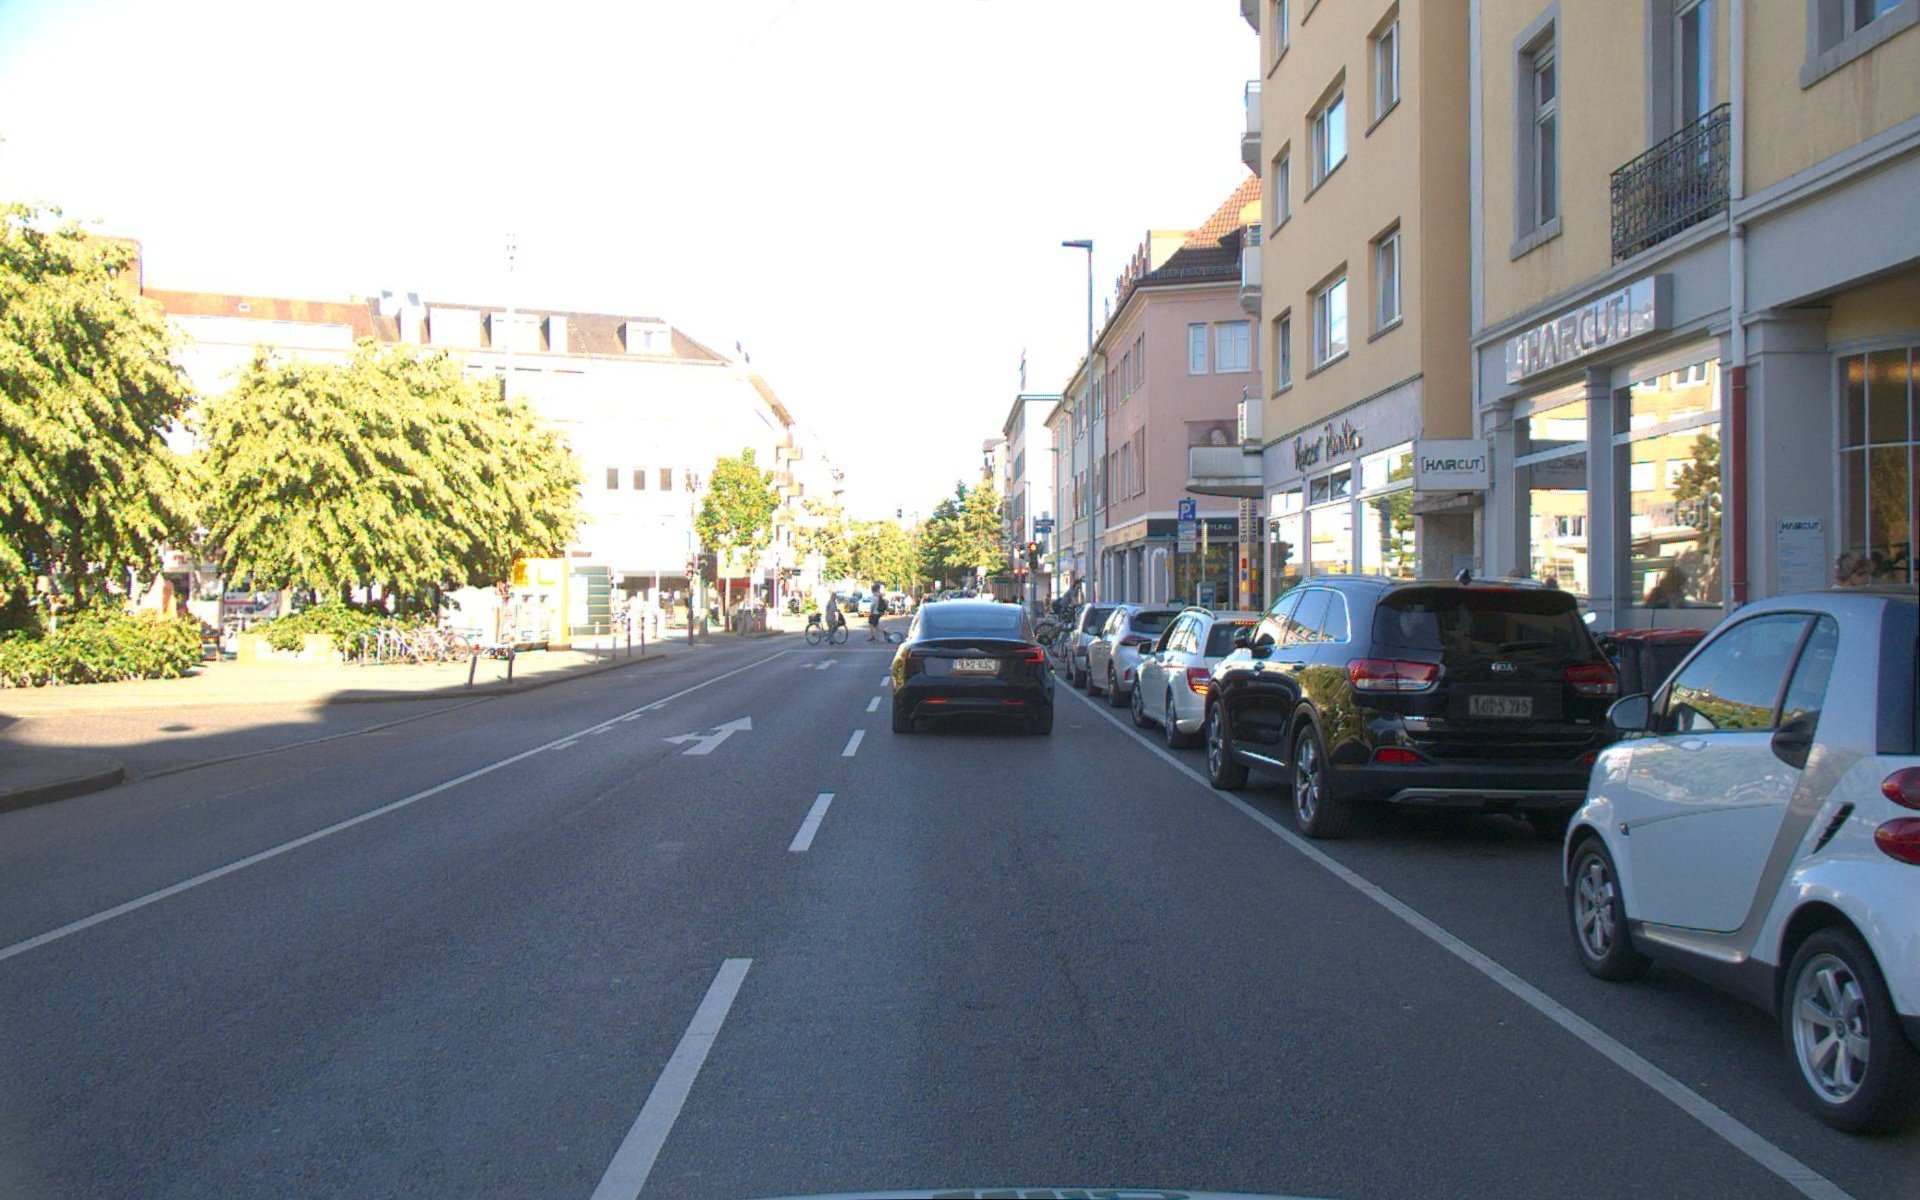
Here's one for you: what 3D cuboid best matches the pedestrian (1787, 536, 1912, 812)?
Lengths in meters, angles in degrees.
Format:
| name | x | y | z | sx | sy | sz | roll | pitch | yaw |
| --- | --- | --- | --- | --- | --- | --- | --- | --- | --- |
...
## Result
| name | x | y | z | sx | sy | sz | roll | pitch | yaw |
| --- | --- | --- | --- | --- | --- | --- | --- | --- | --- |
| pedestrian | 5.627 | 0.456 | 10.483 | 0.441 | 1.689 | 0.593 | -1 | 0 | 1 |

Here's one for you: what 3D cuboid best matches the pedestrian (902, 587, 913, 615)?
| name | x | y | z | sx | sy | sz | roll | pitch | yaw |
| --- | --- | --- | --- | --- | --- | --- | --- | --- | --- |
| pedestrian | -3.848 | 0.069 | 122.228 | 0.614 | 2.049 | 0.559 | 0 | 0 | 24 |

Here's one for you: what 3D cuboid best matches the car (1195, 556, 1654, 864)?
| name | x | y | z | sx | sy | sz | roll | pitch | yaw |
| --- | --- | --- | --- | --- | --- | --- | --- | --- | --- |
| car | 3.016 | 0.634 | 11.825 | 1.720 | 1.767 | 4.569 | 0 | 0 | -4 |

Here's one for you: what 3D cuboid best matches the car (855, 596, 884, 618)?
| name | x | y | z | sx | sy | sz | roll | pitch | yaw |
| --- | --- | --- | --- | --- | --- | --- | --- | --- | --- |
| car | -6.882 | 0.536 | 126.265 | 1.953 | 1.568 | 4.000 | -3 | 0 | 0 |

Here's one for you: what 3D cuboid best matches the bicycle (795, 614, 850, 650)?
| name | x | y | z | sx | sy | sz | roll | pitch | yaw |
| --- | --- | --- | --- | --- | --- | --- | --- | --- | --- |
| bicycle | -4.204 | 0.977 | 50.712 | 1.581 | 1.063 | 0.591 | 1 | 0 | 3 |

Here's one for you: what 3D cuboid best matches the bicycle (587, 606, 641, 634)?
| name | x | y | z | sx | sy | sz | roll | pitch | yaw |
| --- | --- | --- | --- | --- | --- | --- | --- | --- | --- |
| bicycle | -14.264 | 0.814 | 68.262 | 2.040 | 1.123 | 0.806 | 0 | 0 | -1 |

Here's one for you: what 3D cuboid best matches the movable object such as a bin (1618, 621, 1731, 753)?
| name | x | y | z | sx | sy | sz | roll | pitch | yaw |
| --- | --- | --- | --- | --- | --- | --- | --- | --- | --- |
| movable object such as a bin | 6.008 | 0.721 | 13.940 | 0.653 | 1.043 | 0.620 | -3 | 0 | 2 |

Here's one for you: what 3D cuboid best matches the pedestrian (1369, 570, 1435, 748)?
| name | x | y | z | sx | sy | sz | roll | pitch | yaw |
| --- | --- | --- | --- | --- | --- | --- | --- | --- | --- |
| pedestrian | 4.526 | 0.593 | 16.956 | 0.430 | 1.793 | 0.475 | 1 | -1 | -38 |

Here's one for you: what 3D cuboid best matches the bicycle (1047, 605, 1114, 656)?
| name | x | y | z | sx | sy | sz | roll | pitch | yaw |
| --- | --- | --- | --- | --- | --- | --- | --- | --- | --- |
| bicycle | 2.943 | 0.744 | 40.410 | 1.594 | 1.180 | 0.433 | -2 | 0 | 1 |

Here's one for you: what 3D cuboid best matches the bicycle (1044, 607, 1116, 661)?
| name | x | y | z | sx | sy | sz | roll | pitch | yaw |
| --- | --- | --- | --- | --- | --- | --- | --- | --- | --- |
| bicycle | 2.761 | 0.783 | 38.202 | 1.595 | 1.180 | 0.432 | -2 | 0 | -2 |

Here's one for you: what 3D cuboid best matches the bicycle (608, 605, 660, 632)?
| name | x | y | z | sx | sy | sz | roll | pitch | yaw |
| --- | --- | --- | --- | --- | --- | --- | --- | --- | --- |
| bicycle | -13.944 | 0.805 | 70.783 | 2.040 | 1.123 | 0.806 | 0 | 0 | -1 |

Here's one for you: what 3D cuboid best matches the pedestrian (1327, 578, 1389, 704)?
| name | x | y | z | sx | sy | sz | roll | pitch | yaw |
| --- | --- | --- | --- | --- | --- | --- | --- | --- | --- |
| pedestrian | 5.366 | 0.548 | 22.324 | 0.648 | 1.661 | 0.628 | -2 | -1 | 4 |

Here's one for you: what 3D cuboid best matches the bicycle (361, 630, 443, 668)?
| name | x | y | z | sx | sy | sz | roll | pitch | yaw |
| --- | --- | --- | --- | --- | --- | --- | --- | --- | --- |
| bicycle | -12.002 | 1.050 | 35.606 | 1.621 | 0.782 | 0.475 | 1 | 0 | 9 |

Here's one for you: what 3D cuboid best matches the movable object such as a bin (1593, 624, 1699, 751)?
| name | x | y | z | sx | sy | sz | roll | pitch | yaw |
| --- | --- | --- | --- | --- | --- | --- | --- | --- | --- |
| movable object such as a bin | 6.037 | 0.758 | 14.575 | 0.646 | 1.059 | 0.620 | -3 | 0 | 2 |

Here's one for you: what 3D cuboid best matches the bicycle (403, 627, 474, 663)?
| name | x | y | z | sx | sy | sz | roll | pitch | yaw |
| --- | --- | --- | --- | --- | --- | --- | --- | --- | --- |
| bicycle | -11.646 | 1.001 | 36.965 | 1.442 | 0.782 | 0.441 | 1 | 0 | 4 |

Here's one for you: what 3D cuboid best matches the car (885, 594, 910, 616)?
| name | x | y | z | sx | sy | sz | roll | pitch | yaw |
| --- | --- | --- | --- | --- | --- | --- | --- | --- | --- |
| car | -5.098 | 0.386 | 134.532 | 2.009 | 1.757 | 4.651 | 0 | 0 | -3 |

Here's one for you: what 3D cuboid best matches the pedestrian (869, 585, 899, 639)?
| name | x | y | z | sx | sy | sz | roll | pitch | yaw |
| --- | --- | --- | --- | --- | --- | --- | --- | --- | --- |
| pedestrian | -2.500 | 0.381 | 54.296 | 0.882 | 1.755 | 0.744 | 1 | 0 | 3 |

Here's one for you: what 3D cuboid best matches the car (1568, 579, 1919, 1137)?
| name | x | y | z | sx | sy | sz | roll | pitch | yaw |
| --- | --- | --- | --- | --- | --- | --- | --- | --- | --- |
| car | 3.268 | 0.718 | 5.744 | 1.246 | 1.544 | 2.794 | 0 | 0 | -1 |

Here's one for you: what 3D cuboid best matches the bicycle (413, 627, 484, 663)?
| name | x | y | z | sx | sy | sz | roll | pitch | yaw |
| --- | --- | --- | --- | --- | --- | --- | --- | --- | --- |
| bicycle | -11.596 | 1.015 | 37.525 | 1.442 | 0.782 | 0.475 | 1 | 0 | 2 |

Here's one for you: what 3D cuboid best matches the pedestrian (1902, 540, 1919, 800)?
| name | x | y | z | sx | sy | sz | roll | pitch | yaw |
| --- | --- | --- | --- | --- | --- | --- | --- | --- | --- |
| pedestrian | 6.445 | 0.450 | 10.673 | 0.334 | 1.689 | 0.519 | -1 | 0 | -30 |

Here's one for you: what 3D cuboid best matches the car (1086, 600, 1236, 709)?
| name | x | y | z | sx | sy | sz | roll | pitch | yaw |
| --- | --- | --- | --- | --- | --- | --- | --- | --- | --- |
| car | 2.881 | 0.734 | 24.413 | 1.636 | 1.452 | 4.076 | 0 | 0 | -1 |

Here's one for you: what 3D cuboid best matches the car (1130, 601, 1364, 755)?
| name | x | y | z | sx | sy | sz | roll | pitch | yaw |
| --- | --- | --- | --- | --- | --- | --- | --- | --- | --- |
| car | 3.006 | 0.754 | 18.214 | 1.703 | 1.472 | 4.463 | 0 | 0 | -1 |

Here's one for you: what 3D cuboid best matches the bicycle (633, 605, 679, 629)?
| name | x | y | z | sx | sy | sz | roll | pitch | yaw |
| --- | --- | --- | --- | --- | --- | --- | --- | --- | --- |
| bicycle | -14.281 | 0.784 | 77.750 | 2.040 | 1.123 | 0.806 | 0 | 0 | -1 |

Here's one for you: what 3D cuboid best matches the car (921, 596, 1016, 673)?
| name | x | y | z | sx | sy | sz | roll | pitch | yaw |
| --- | --- | --- | --- | --- | --- | --- | --- | --- | --- |
| car | 0.181 | 0.661 | 33.704 | 1.812 | 1.480 | 3.786 | 0 | 0 | 1 |

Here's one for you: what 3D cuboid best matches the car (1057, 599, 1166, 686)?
| name | x | y | z | sx | sy | sz | roll | pitch | yaw |
| --- | --- | --- | --- | --- | --- | --- | --- | --- | --- |
| car | 2.616 | 0.707 | 29.237 | 1.588 | 1.419 | 3.886 | 0 | 0 | 1 |

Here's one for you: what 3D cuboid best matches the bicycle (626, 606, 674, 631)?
| name | x | y | z | sx | sy | sz | roll | pitch | yaw |
| --- | --- | --- | --- | --- | --- | --- | --- | --- | --- |
| bicycle | -14.161 | 0.824 | 75.556 | 2.040 | 1.123 | 0.806 | 0 | 0 | -1 |

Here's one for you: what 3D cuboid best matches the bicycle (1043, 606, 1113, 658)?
| name | x | y | z | sx | sy | sz | roll | pitch | yaw |
| --- | --- | --- | --- | --- | --- | --- | --- | --- | --- |
| bicycle | 2.785 | 0.756 | 39.166 | 1.595 | 1.180 | 0.432 | -2 | 0 | -2 |

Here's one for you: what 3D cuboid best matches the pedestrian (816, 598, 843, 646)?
| name | x | y | z | sx | sy | sz | roll | pitch | yaw |
| --- | --- | --- | --- | --- | --- | --- | --- | --- | --- |
| pedestrian | -4.026 | 0.672 | 51.165 | 0.727 | 1.466 | 0.582 | 1 | -1 | 3 |

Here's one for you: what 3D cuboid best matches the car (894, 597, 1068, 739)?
| name | x | y | z | sx | sy | sz | roll | pitch | yaw |
| --- | --- | --- | --- | --- | --- | --- | --- | --- | --- |
| car | 0.241 | 0.713 | 19.267 | 1.812 | 1.480 | 3.786 | 0 | 0 | 1 |

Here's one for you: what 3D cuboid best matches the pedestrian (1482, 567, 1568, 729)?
| name | x | y | z | sx | sy | sz | roll | pitch | yaw |
| --- | --- | --- | --- | --- | --- | --- | --- | --- | --- |
| pedestrian | 5.957 | 0.498 | 17.460 | 0.682 | 1.661 | 0.532 | -1 | 0 | -3 |

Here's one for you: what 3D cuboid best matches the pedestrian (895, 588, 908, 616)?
| name | x | y | z | sx | sy | sz | roll | pitch | yaw |
| --- | --- | --- | --- | --- | --- | --- | --- | --- | --- |
| pedestrian | -4.350 | 0.167 | 123.433 | 0.741 | 2.049 | 0.792 | 1 | 0 | -26 |

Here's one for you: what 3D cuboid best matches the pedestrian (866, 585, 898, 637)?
| name | x | y | z | sx | sy | sz | roll | pitch | yaw |
| --- | --- | --- | --- | --- | --- | --- | --- | --- | --- |
| pedestrian | -2.516 | 0.353 | 53.366 | 0.965 | 1.665 | 0.737 | 1 | 0 | 3 |
